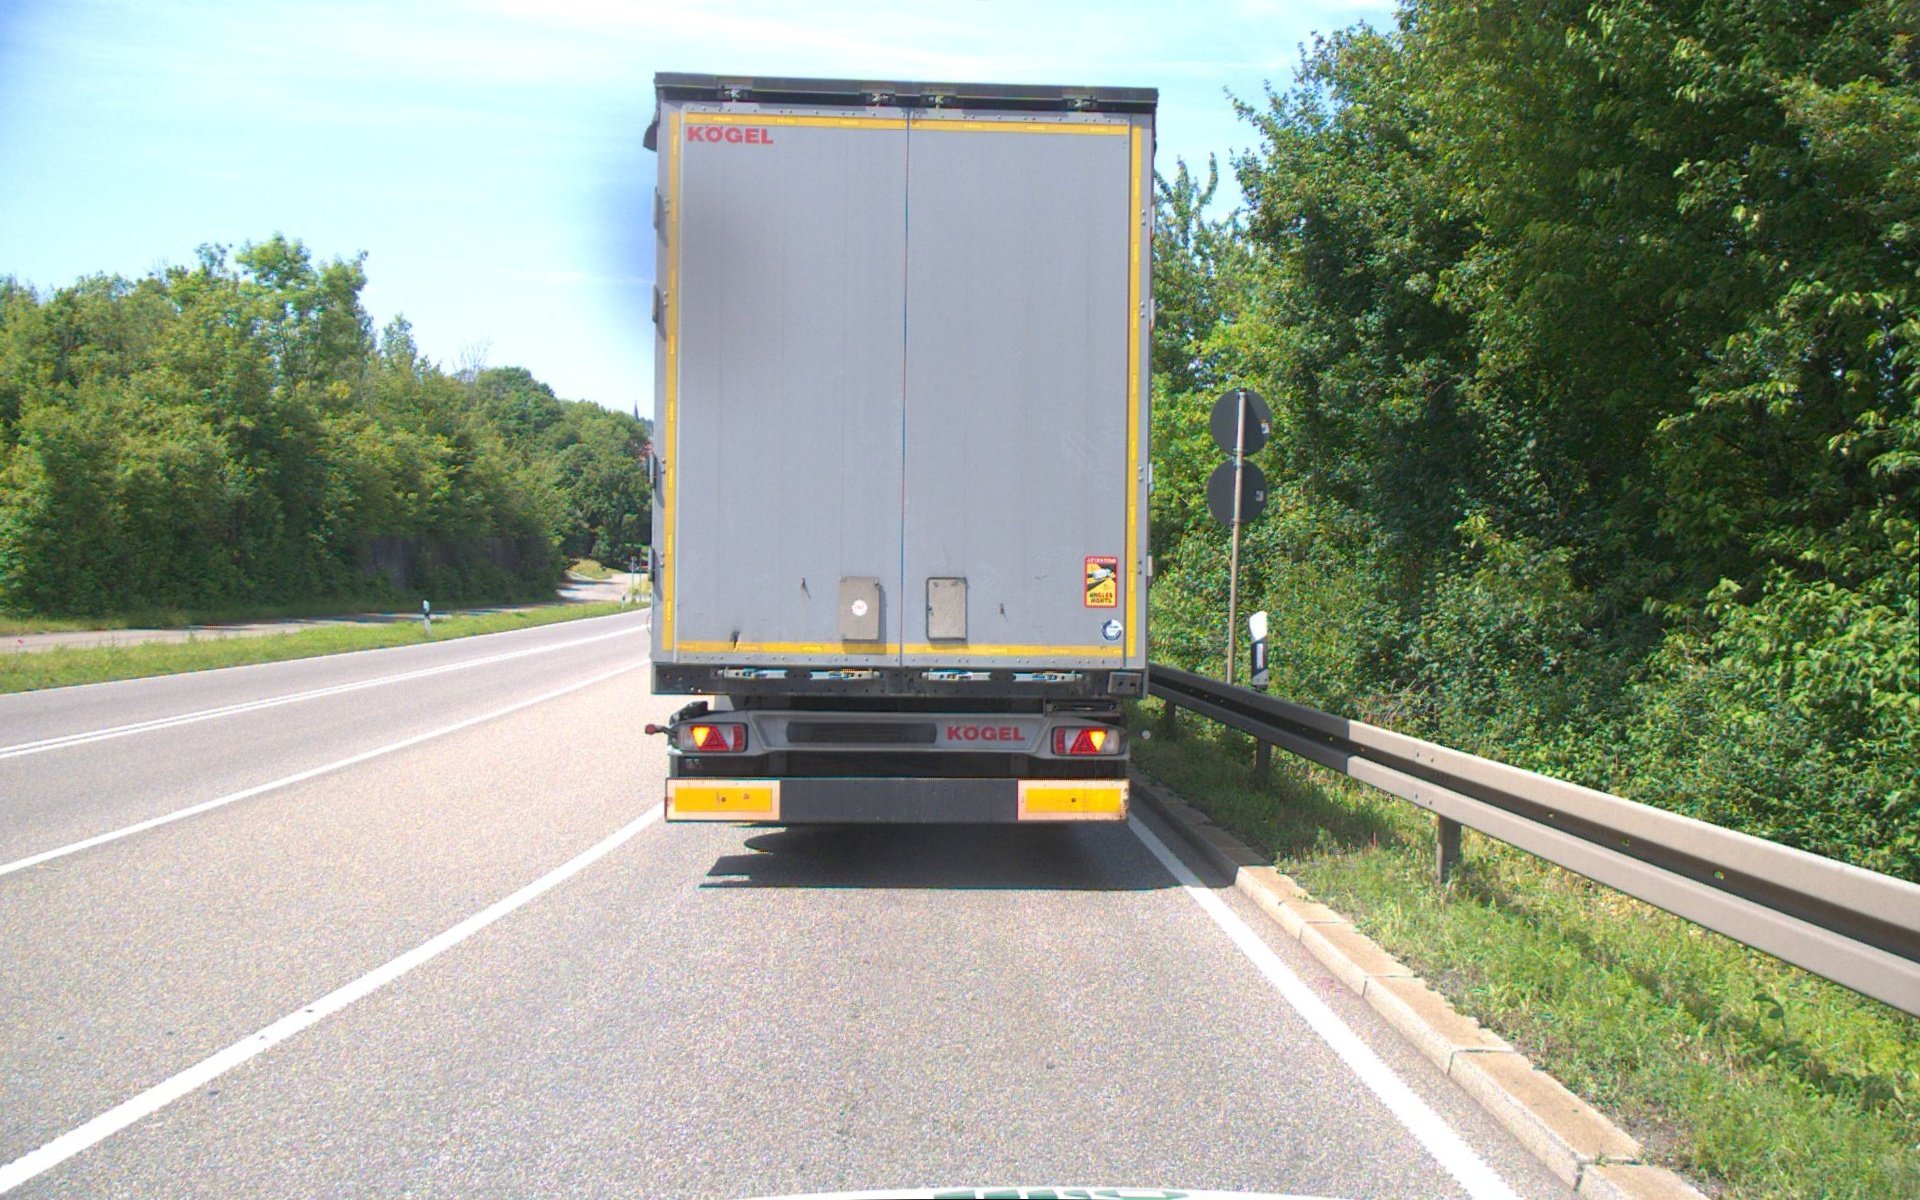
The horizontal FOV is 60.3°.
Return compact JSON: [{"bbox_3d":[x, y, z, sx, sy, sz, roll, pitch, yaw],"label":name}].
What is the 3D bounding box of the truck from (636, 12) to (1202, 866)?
[{"bbox_3d":[-0.350,-0.809,13.978,2.701,4.100,11.920,1,0,-2],"label":"truck"}]
